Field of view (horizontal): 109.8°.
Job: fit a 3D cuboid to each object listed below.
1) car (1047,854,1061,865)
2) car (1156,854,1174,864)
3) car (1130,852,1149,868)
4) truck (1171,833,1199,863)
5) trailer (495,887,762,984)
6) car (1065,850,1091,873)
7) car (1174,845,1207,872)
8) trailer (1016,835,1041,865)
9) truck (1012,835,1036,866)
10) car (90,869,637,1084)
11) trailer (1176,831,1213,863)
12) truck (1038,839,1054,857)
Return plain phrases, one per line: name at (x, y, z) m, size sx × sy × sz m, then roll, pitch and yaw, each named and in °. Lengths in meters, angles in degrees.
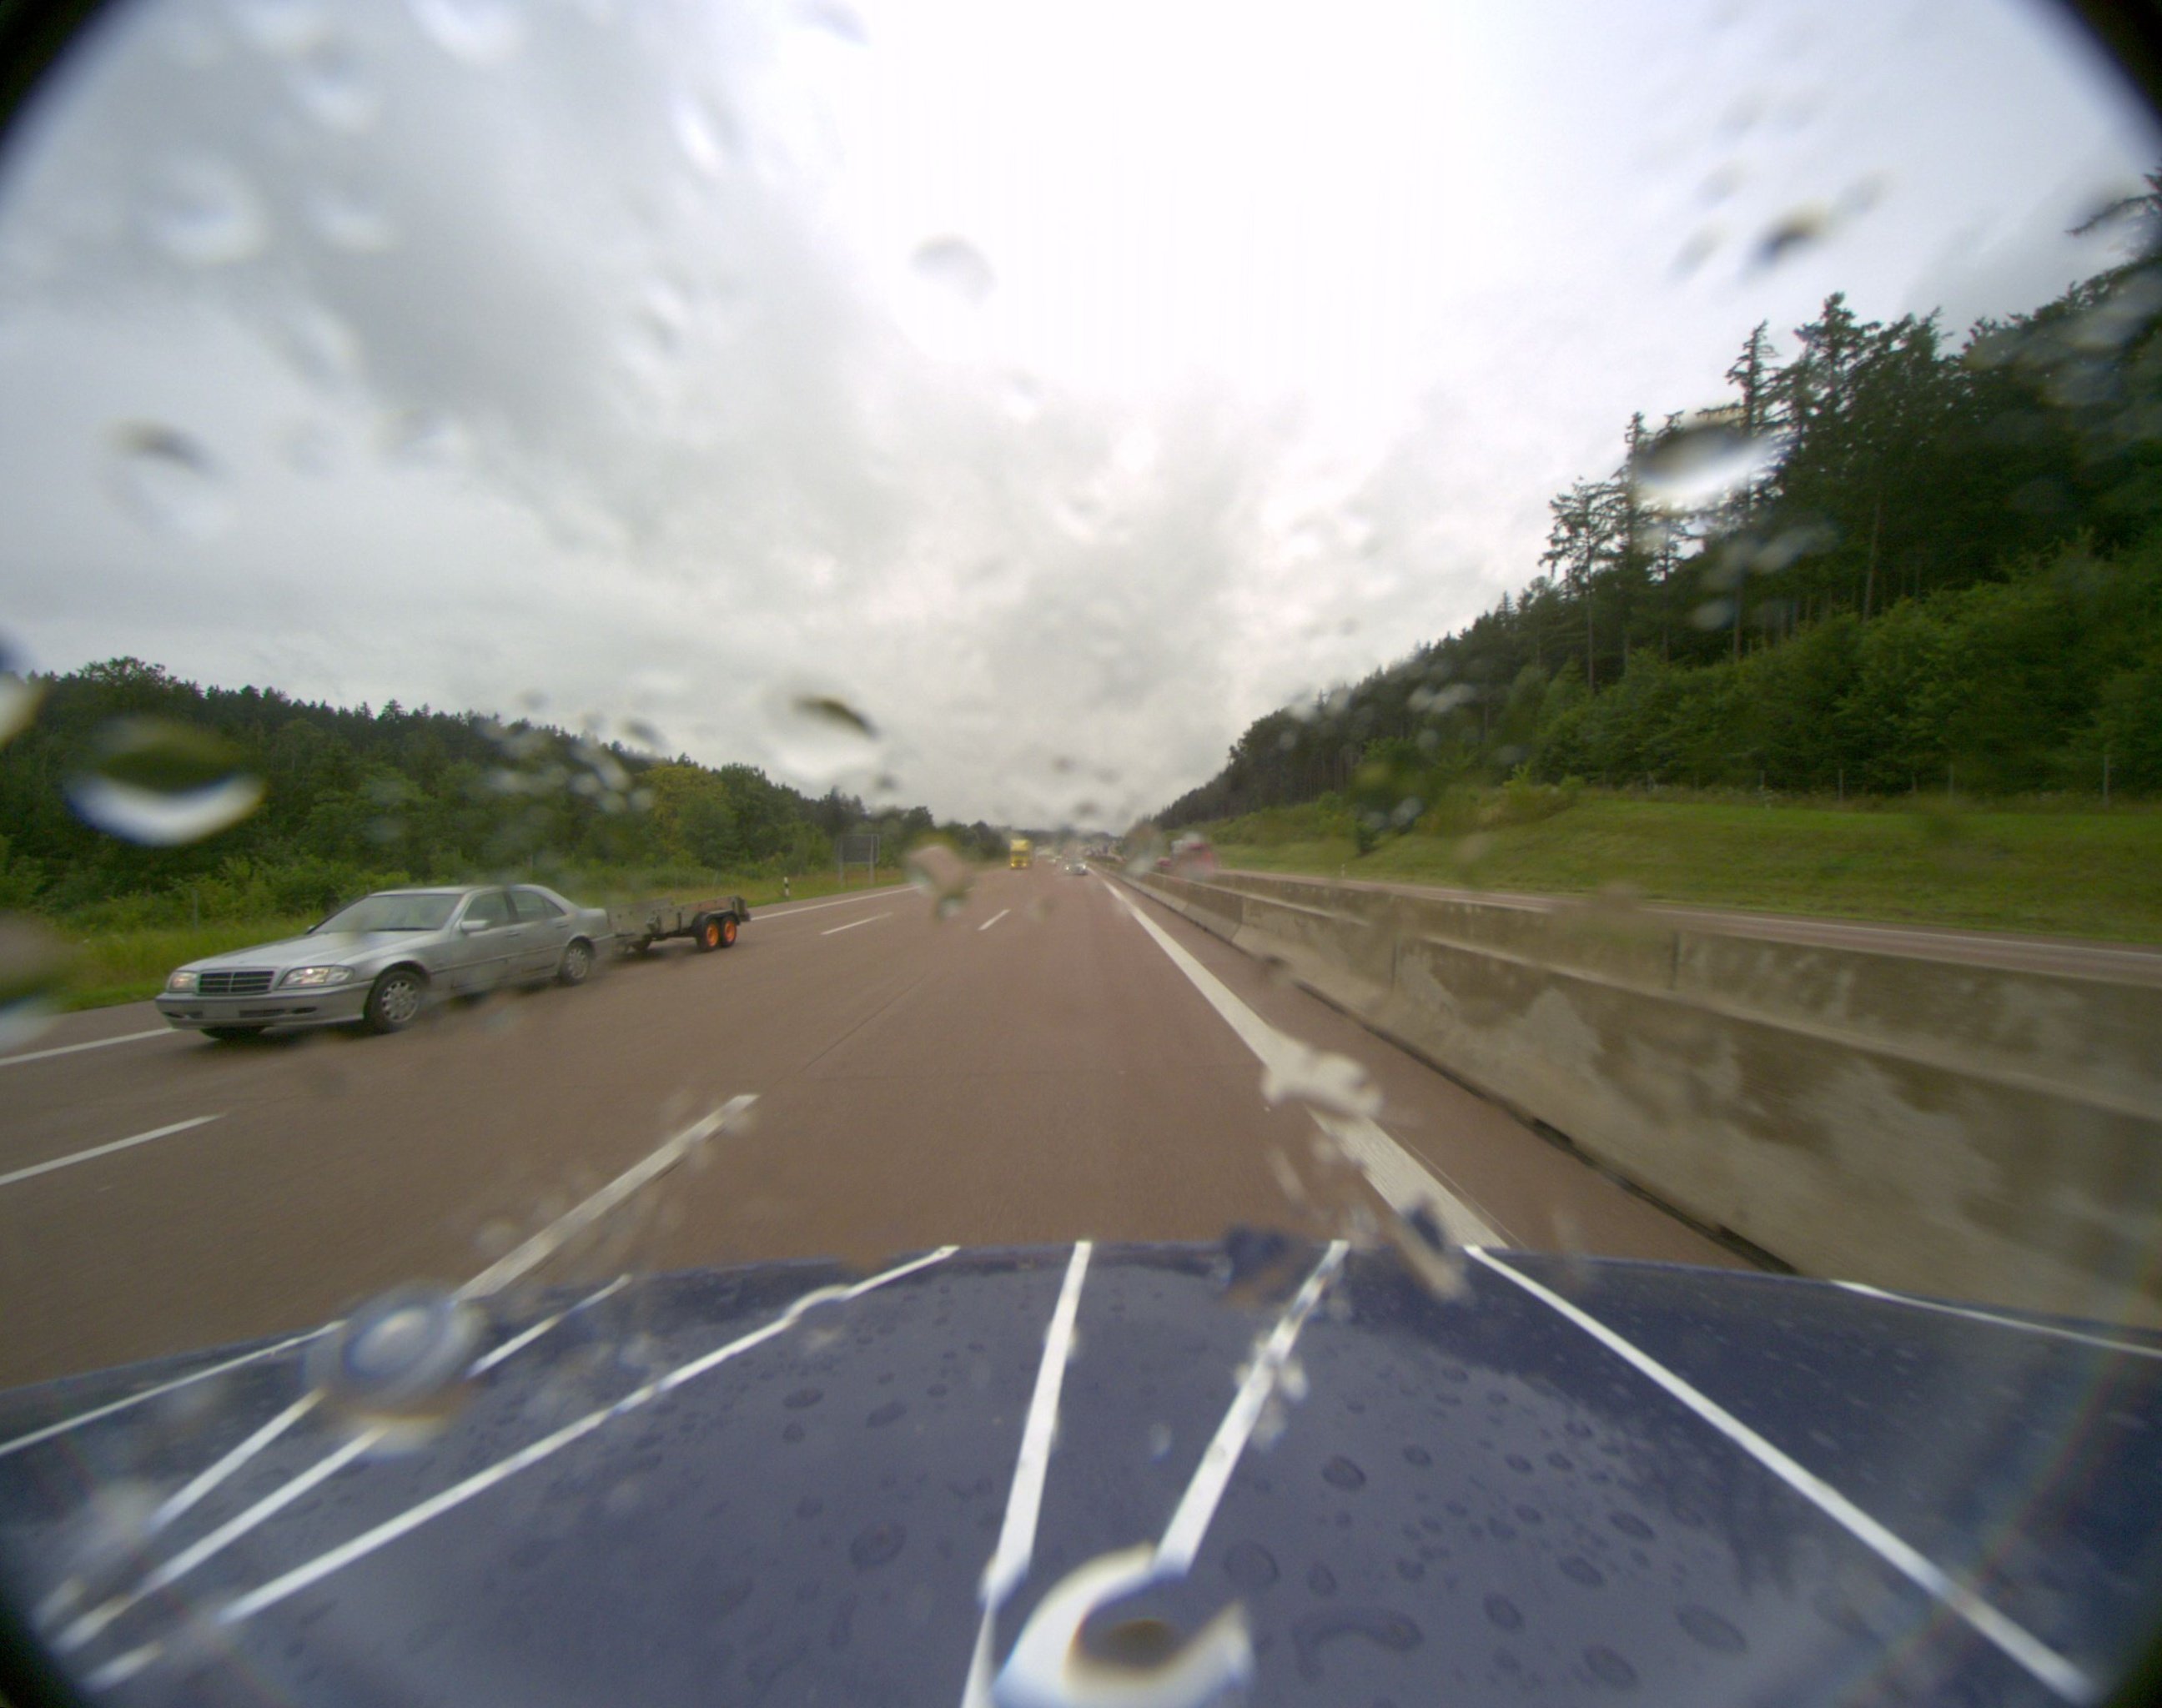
car at (-4.441, 0.878, 126.492) m, size 1.998 × 1.623 × 4.930 m, roll -2°, pitch 1°, yaw 1°
car at (11.311, 0.662, 102.771) m, size 1.823 × 1.361 × 5.114 m, roll -1°, pitch 0°, yaw -1°
car at (7.808, 0.728, 101.664) m, size 1.823 × 1.831 × 6.236 m, roll -2°, pitch 1°, yaw -1°
truck at (15.815, -0.796, 116.391) m, size 2.972 × 4.294 × 7.649 m, roll 2°, pitch -1°, yaw -1°
trailer at (-7.751, 1.323, 13.711) m, size 1.976 × 1.159 × 4.639 m, roll -2°, pitch 0°, yaw 0°
car at (-0.225, 0.581, 63.122) m, size 1.998 × 1.623 × 4.930 m, roll -2°, pitch 1°, yaw 1°
car at (8.467, 0.311, 59.116) m, size 1.781 × 1.846 × 5.320 m, roll -2°, pitch 1°, yaw 1°
trailer at (-7.838, -0.780, 115.622) m, size 2.572 × 4.205 × 14.076 m, roll -2°, pitch 1°, yaw 1°
truck at (-7.947, -0.568, 106.748) m, size 2.610 × 4.190 × 6.248 m, roll -2°, pitch 2°, yaw 1°
car at (-7.594, 1.104, 9.004) m, size 1.702 × 1.602 × 4.975 m, roll -1°, pitch 1°, yaw 0°
trailer at (15.960, -0.899, 108.132) m, size 2.941 × 4.250 × 12.944 m, roll 2°, pitch 0°, yaw -1°
truck at (-9.539, -1.707, 207.861) m, size 3.190 × 4.349 × 14.700 m, roll -2°, pitch 1°, yaw 1°
